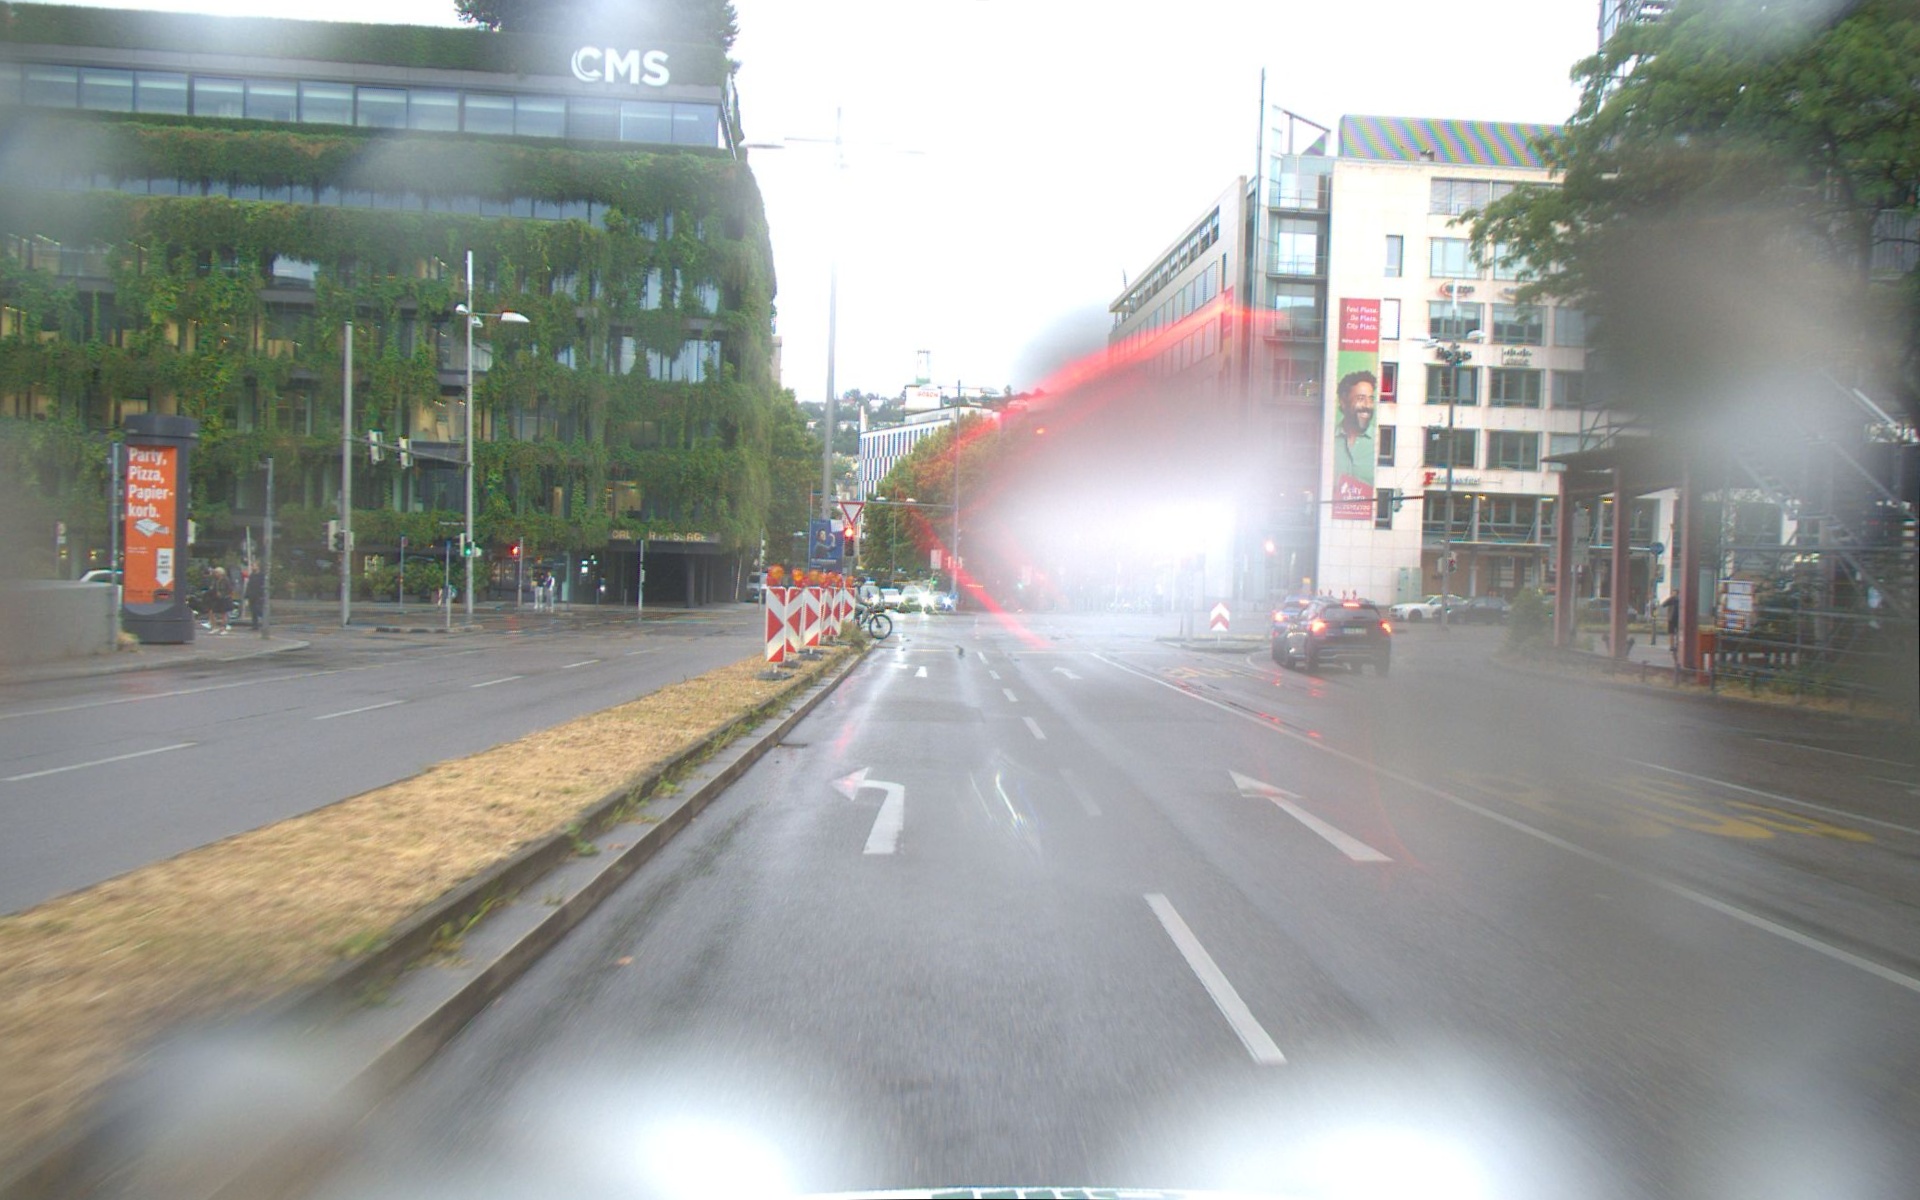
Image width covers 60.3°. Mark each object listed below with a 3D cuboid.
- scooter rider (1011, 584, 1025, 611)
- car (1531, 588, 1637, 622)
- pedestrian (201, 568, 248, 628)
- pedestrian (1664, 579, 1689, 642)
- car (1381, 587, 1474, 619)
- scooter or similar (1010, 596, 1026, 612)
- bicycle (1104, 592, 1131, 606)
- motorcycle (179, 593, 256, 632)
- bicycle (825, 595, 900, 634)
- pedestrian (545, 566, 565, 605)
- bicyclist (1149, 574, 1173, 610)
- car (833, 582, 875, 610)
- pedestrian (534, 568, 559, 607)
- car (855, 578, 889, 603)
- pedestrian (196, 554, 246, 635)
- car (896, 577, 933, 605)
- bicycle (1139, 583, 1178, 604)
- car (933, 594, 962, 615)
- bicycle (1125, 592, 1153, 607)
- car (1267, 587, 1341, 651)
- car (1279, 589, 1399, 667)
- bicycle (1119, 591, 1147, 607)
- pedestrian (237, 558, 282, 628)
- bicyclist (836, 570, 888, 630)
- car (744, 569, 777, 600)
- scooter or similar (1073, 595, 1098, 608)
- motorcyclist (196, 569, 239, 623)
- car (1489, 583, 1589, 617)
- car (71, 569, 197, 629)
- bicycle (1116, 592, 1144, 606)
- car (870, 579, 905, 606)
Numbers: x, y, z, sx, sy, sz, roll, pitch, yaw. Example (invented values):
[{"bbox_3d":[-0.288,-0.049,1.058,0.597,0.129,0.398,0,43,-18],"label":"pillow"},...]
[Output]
[{"bbox_3d":[3.932,-0.159,112.208,0.750,1.805,0.792,0,0,-16],"label":"scooter rider"},{"bbox_3d":[28.648,0.244,75.969,4.374,1.489,1.717,1,0,-14],"label":"car"},{"bbox_3d":[-20.566,-0.051,46.241,0.814,1.612,0.923,-3,1,-1],"label":"pedestrian"},{"bbox_3d":[21.765,0.310,50.256,0.666,1.885,1.056,0,0,23],"label":"pedestrian"},{"bbox_3d":[24.944,0.175,88.260,4.377,1.626,1.992,1,0,-16],"label":"car"},{"bbox_3d":[3.937,0.274,112.211,0.547,1.024,1.816,0,0,-16],"label":"scooter or similar"},{"bbox_3d":[10.639,-0.080,111.586,1.757,0.950,0.475,1,0,2],"label":"bicycle"},{"bbox_3d":[-24.189,0.394,53.932,2.192,1.231,0.844,1,0,-17],"label":"motorcycle"},{"bbox_3d":[-2.862,0.426,48.747,2.134,1.122,0.835,0,1,-42],"label":"bicycle"},{"bbox_3d":[-18.908,-0.680,77.287,0.731,1.788,0.969,1,0,-24],"label":"pedestrian"},{"bbox_3d":[11.409,-0.440,93.850,0.787,2.009,1.097,1,0,-41],"label":"bicyclist"},{"bbox_3d":[-6.224,-0.246,96.709,1.823,1.473,4.609,0,1,-11],"label":"car"},{"bbox_3d":[-19.277,-0.575,77.090,0.923,1.788,1.163,1,0,-24],"label":"pedestrian"},{"bbox_3d":[-5.501,-0.600,103.010,1.821,1.473,4.614,1,1,-7],"label":"car"},{"bbox_3d":[-18.086,-0.145,40.485,0.790,1.918,0.865,-3,1,-7],"label":"pedestrian"},{"bbox_3d":[-2.701,-0.557,96.828,1.954,1.577,4.551,1,1,-5],"label":"car"},{"bbox_3d":[11.267,-0.374,94.006,0.787,1.136,2.222,1,0,-41],"label":"bicycle"},{"bbox_3d":[-0.957,0.317,127.455,1.954,1.468,4.553,0,2,-4],"label":"car"},{"bbox_3d":[11.404,-0.035,105.418,1.767,0.950,0.473,1,1,41],"label":"bicycle"},{"bbox_3d":[8.992,0.451,43.033,1.667,1.556,4.430,1,1,14],"label":"car"},{"bbox_3d":[8.145,0.558,35.856,1.741,1.567,4.148,1,1,1],"label":"car"},{"bbox_3d":[10.798,-0.068,103.058,1.767,0.950,0.473,1,1,41],"label":"bicycle"},{"bbox_3d":[-19.634,-0.199,46.366,0.768,1.918,0.898,-3,1,-1],"label":"pedestrian"},{"bbox_3d":[-2.884,-0.002,48.684,1.288,1.733,0.835,0,0,-42],"label":"bicyclist"},{"bbox_3d":[-12.861,-1.004,106.870,1.954,1.928,4.461,1,1,-5],"label":"car"},{"bbox_3d":[9.024,0.126,118.735,1.720,0.894,0.486,0,0,-20],"label":"scooter or similar"},{"bbox_3d":[-24.197,-0.139,53.925,1.166,1.732,0.844,1,0,-17],"label":"motorcyclist"},{"bbox_3d":[28.902,0.018,82.567,4.377,1.626,1.992,1,0,-16],"label":"car"},{"bbox_3d":[-27.835,-0.050,55.824,3.390,1.955,1.993,1,0,-14],"label":"car"},{"bbox_3d":[11.277,-0.064,109.745,1.757,0.950,0.475,1,0,2],"label":"bicycle"},{"bbox_3d":[-5.180,-0.544,117.377,2.133,1.855,4.638,1,1,-6],"label":"car"}]
